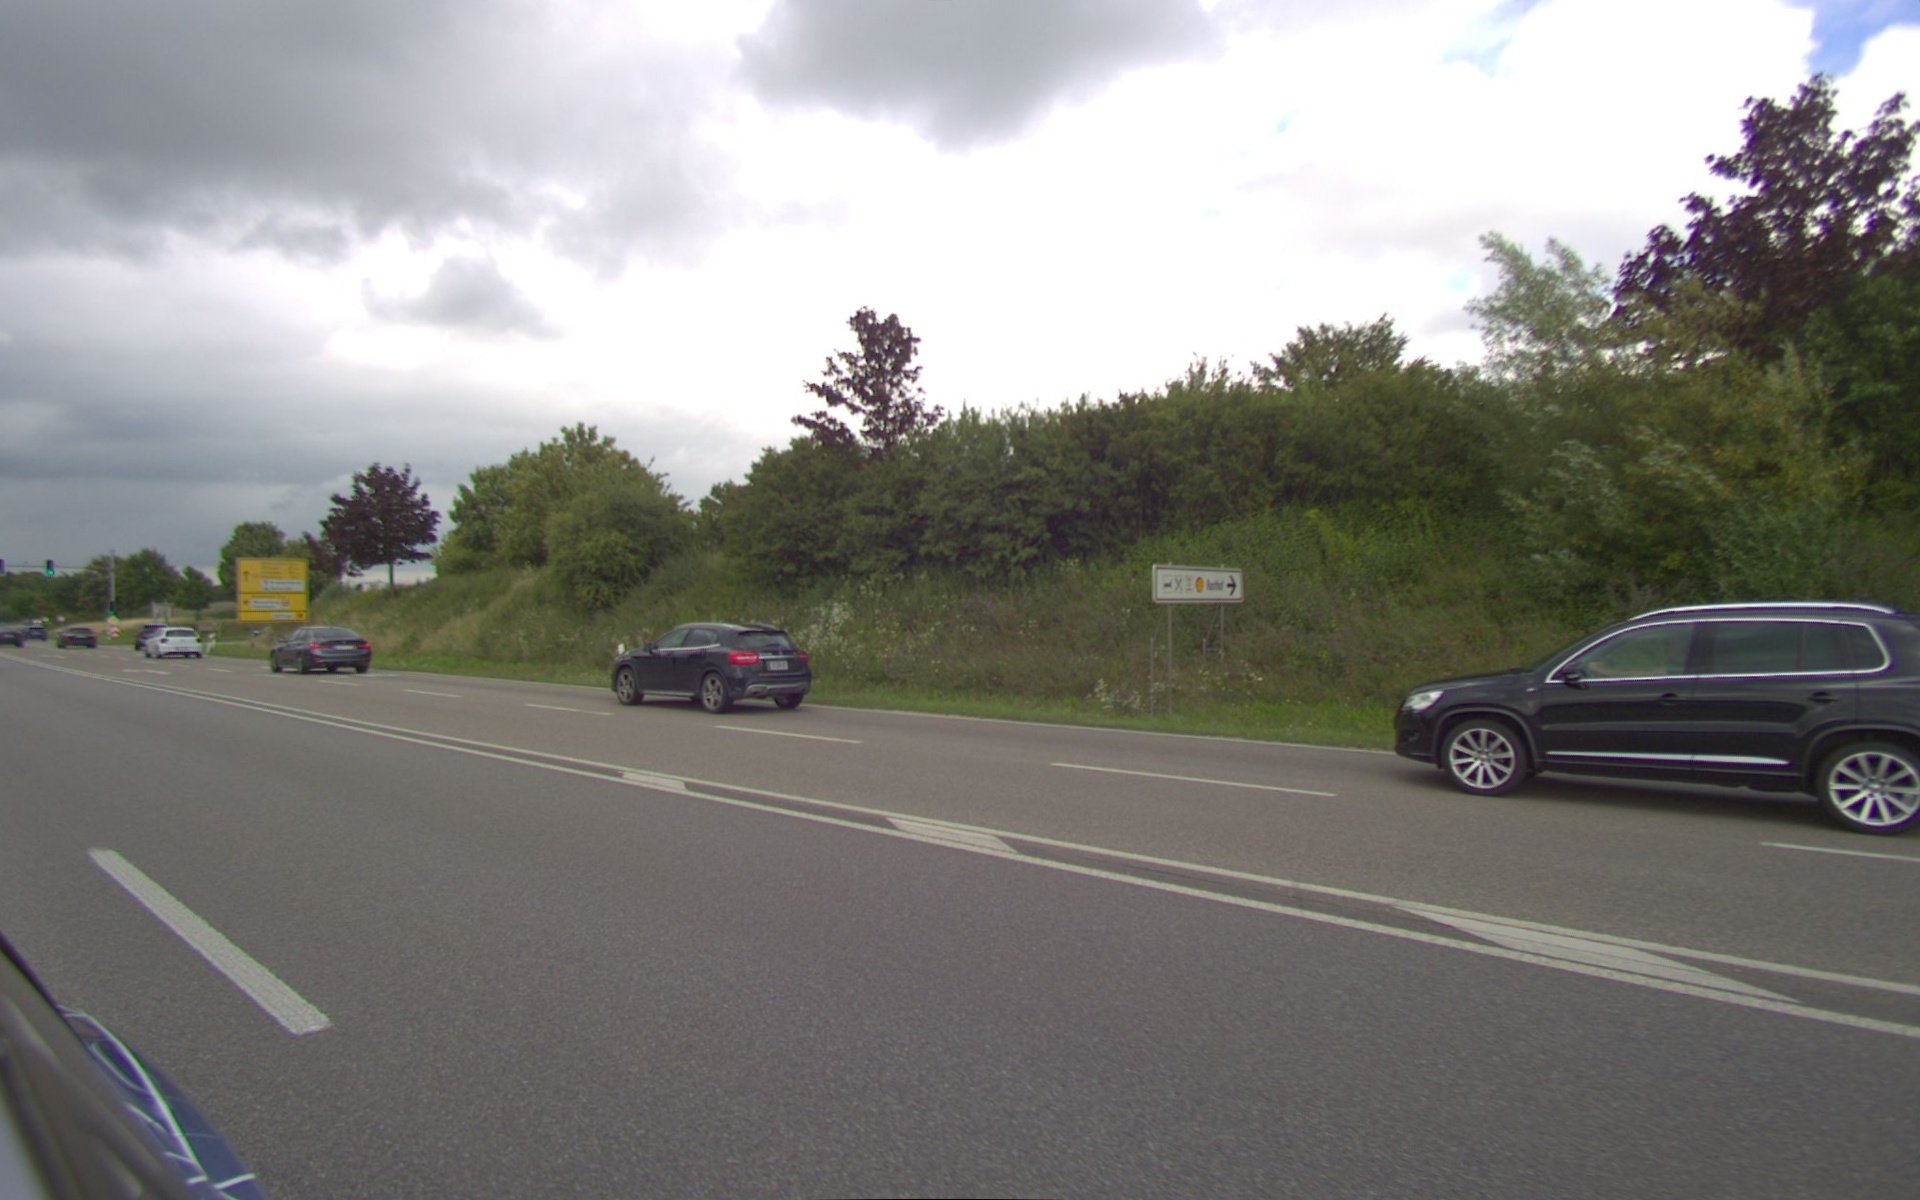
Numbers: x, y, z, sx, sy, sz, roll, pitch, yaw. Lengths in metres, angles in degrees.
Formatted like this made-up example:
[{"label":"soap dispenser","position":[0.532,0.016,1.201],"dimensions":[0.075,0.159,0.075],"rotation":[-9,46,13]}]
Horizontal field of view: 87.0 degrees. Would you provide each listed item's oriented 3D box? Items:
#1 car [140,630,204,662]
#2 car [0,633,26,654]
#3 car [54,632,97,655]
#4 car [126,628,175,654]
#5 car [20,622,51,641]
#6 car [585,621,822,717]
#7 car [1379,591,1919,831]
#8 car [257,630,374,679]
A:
[{"label":"car","position":[-37.075,2.145,47.585],"dimensions":[4.054,1.425,1.591],"rotation":[-2,-2,41]},{"label":"car","position":[-66.054,2.980,70.013],"dimensions":[4.186,1.418,1.835],"rotation":[-2,-3,43]},{"label":"car","position":[-59.775,2.905,68.364],"dimensions":[4.659,1.492,1.704],"rotation":[-2,-3,43]},{"label":"car","position":[-50.929,2.568,63.655],"dimensions":[4.398,1.608,1.835],"rotation":[-2,-3,43]},{"label":"car","position":[-91.388,3.121,100.037],"dimensions":[4.127,1.729,1.831],"rotation":[-2,-1,42]},{"label":"car","position":[-4.726,1.175,18.273],"dimensions":[4.702,1.523,1.775],"rotation":[-2,-3,41]},{"label":"car","position":[6.150,0.824,8.522],"dimensions":[4.513,1.647,1.775],"rotation":[-2,-3,41]},{"label":"car","position":[-20.071,1.667,31.456],"dimensions":[4.702,1.416,1.775],"rotation":[-2,-3,41]}]
